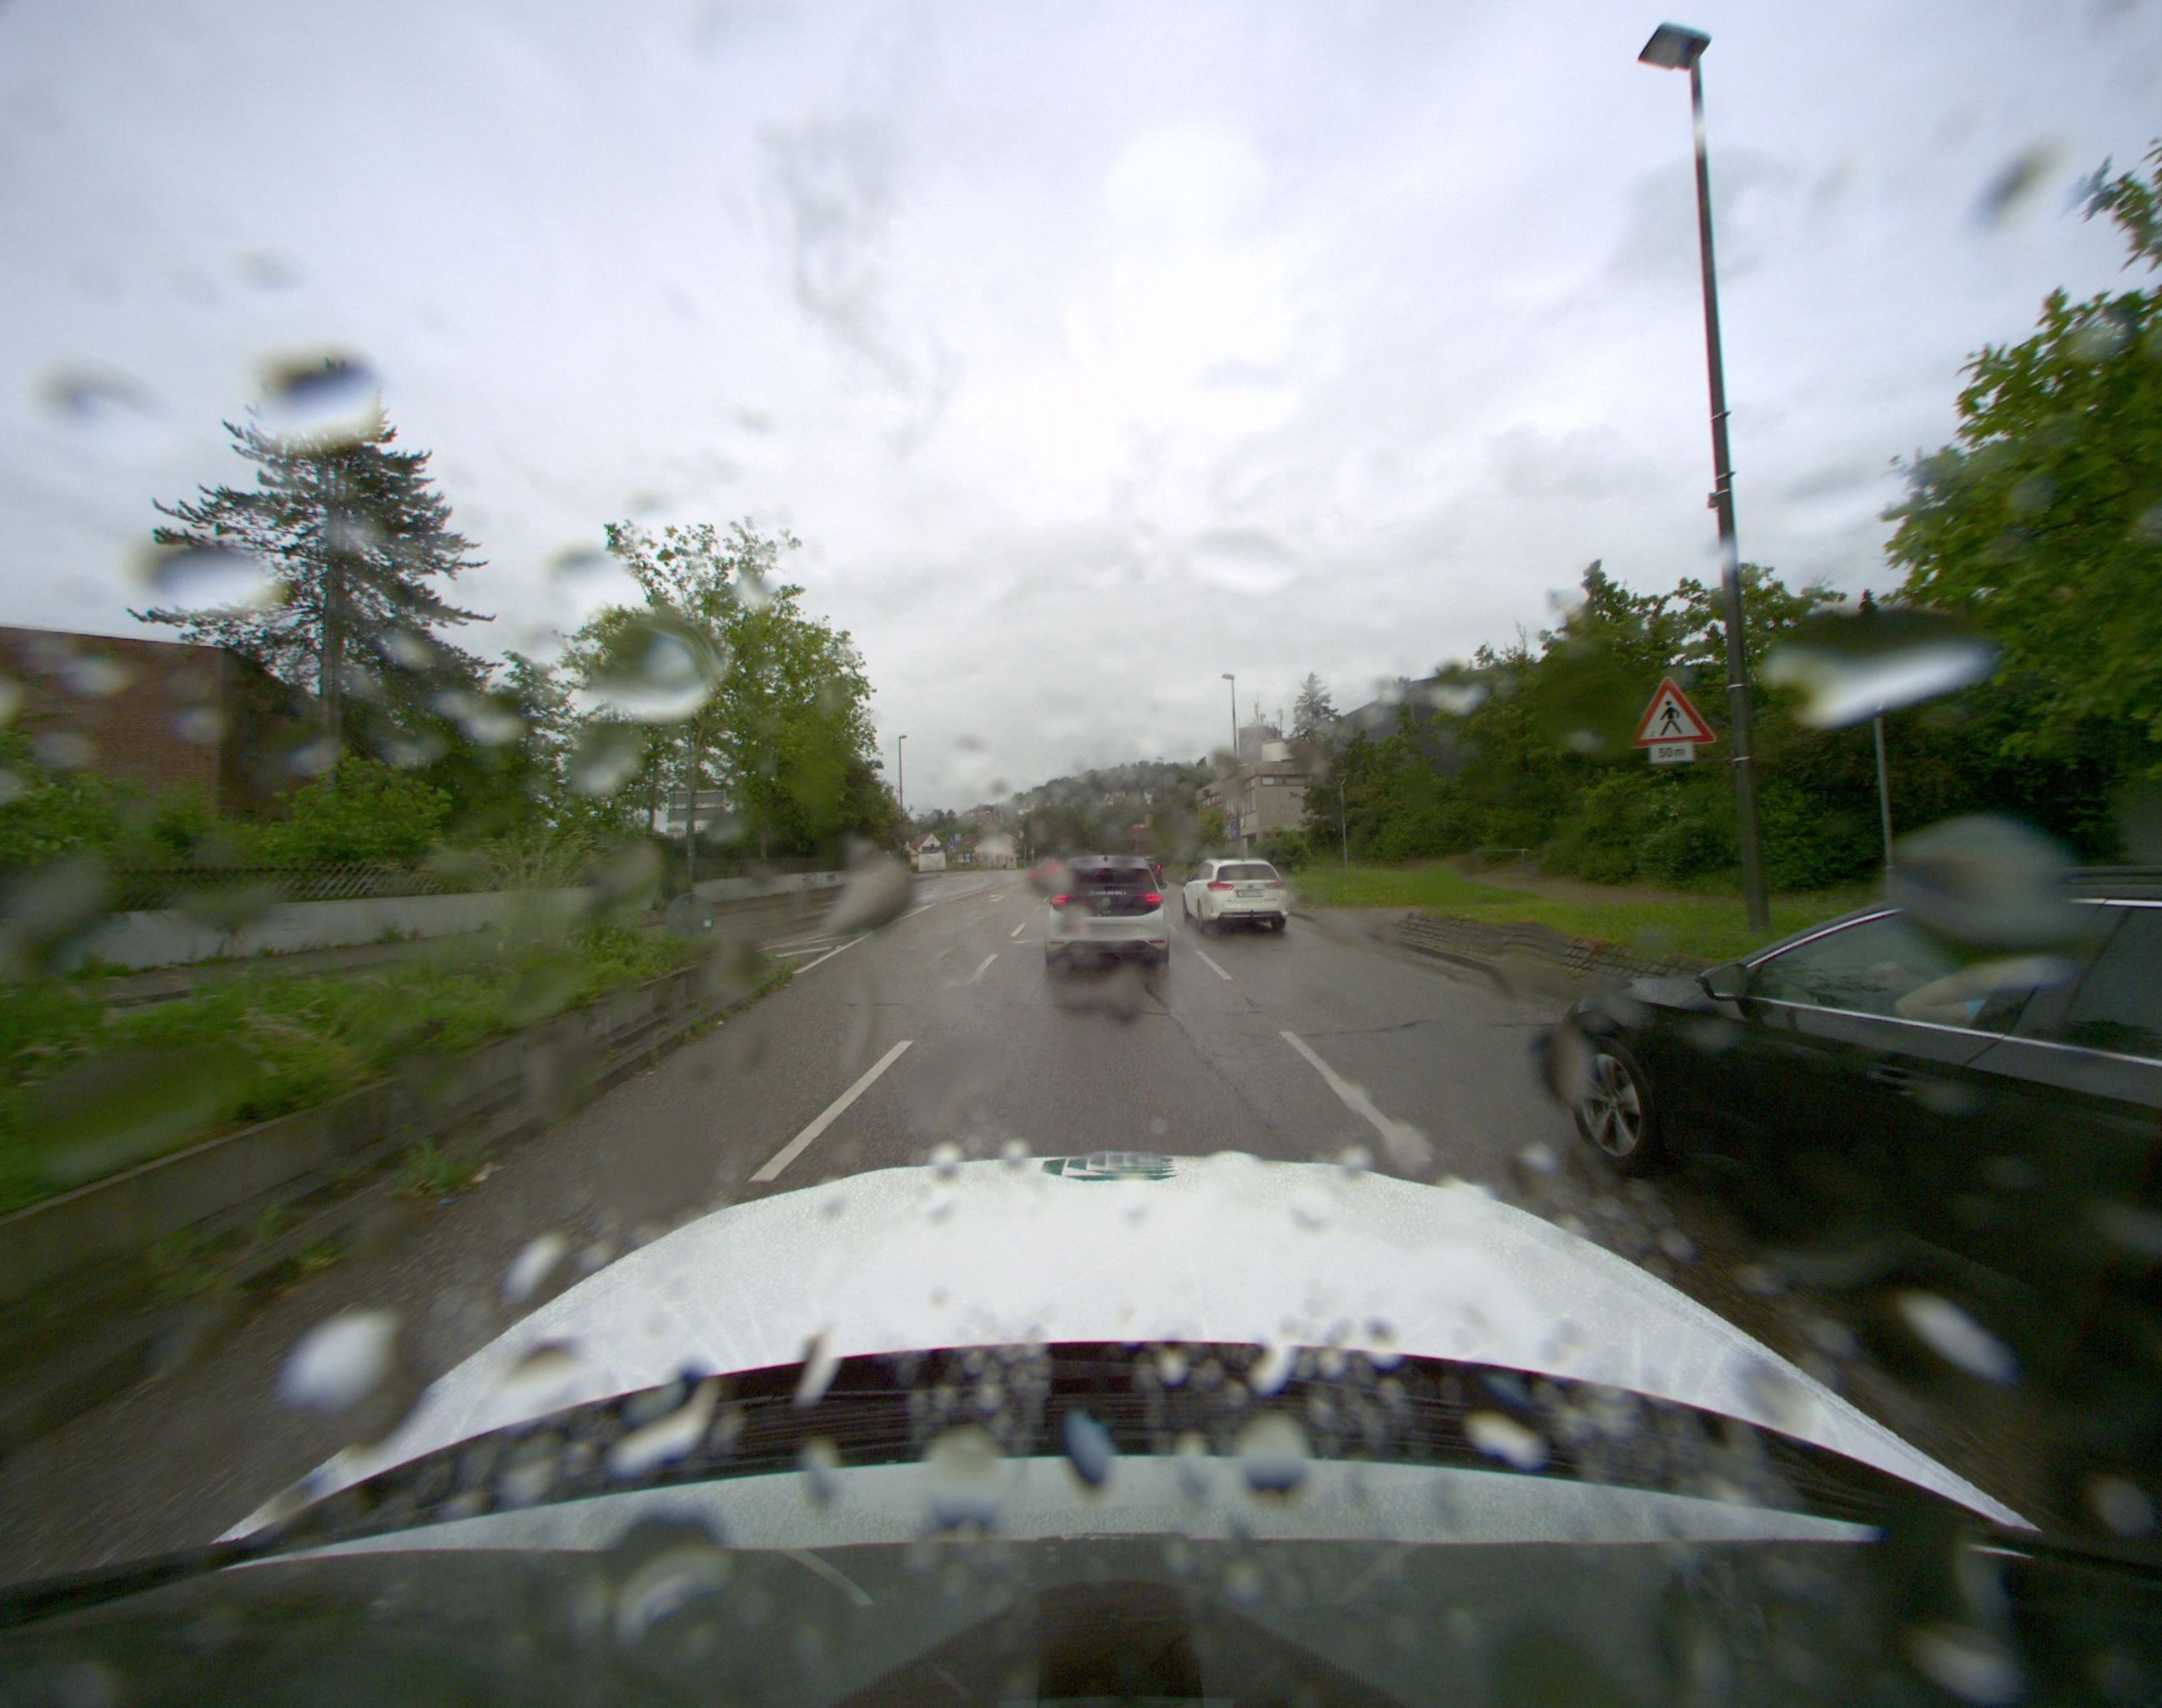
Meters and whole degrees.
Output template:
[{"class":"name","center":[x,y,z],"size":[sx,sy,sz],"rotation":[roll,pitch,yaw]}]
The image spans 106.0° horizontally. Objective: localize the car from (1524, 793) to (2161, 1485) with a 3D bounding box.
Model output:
[{"class":"car","center":[3.357,0.648,2.216],"size":[1.946,1.507,4.610],"rotation":[1,-1,2]}]

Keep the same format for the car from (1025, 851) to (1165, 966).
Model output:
[{"class":"car","center":[0.332,0.764,12.837],"size":[1.820,1.500,4.172],"rotation":[-1,-1,4]}]

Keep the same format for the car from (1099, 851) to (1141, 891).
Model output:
[{"class":"car","center":[1.561,0.661,33.451],"size":[1.561,1.530,4.001],"rotation":[-1,0,2]}]

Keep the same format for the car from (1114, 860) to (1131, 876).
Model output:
[{"class":"car","center":[5.136,1.740,101.305],"size":[1.985,2.014,4.004],"rotation":[0,-1,4]}]

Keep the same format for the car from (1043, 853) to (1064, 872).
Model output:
[{"class":"car","center":[-2.884,0.932,85.650],"size":[1.986,2.014,4.001],"rotation":[0,-1,2]}]

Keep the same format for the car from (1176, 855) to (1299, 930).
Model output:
[{"class":"car","center":[3.227,0.774,17.664],"size":[1.842,1.410,4.300],"rotation":[-1,-1,0]}]

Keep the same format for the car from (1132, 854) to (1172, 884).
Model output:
[{"class":"car","center":[3.814,0.803,43.992],"size":[1.985,1.453,3.774],"rotation":[-4,-1,4]}]
